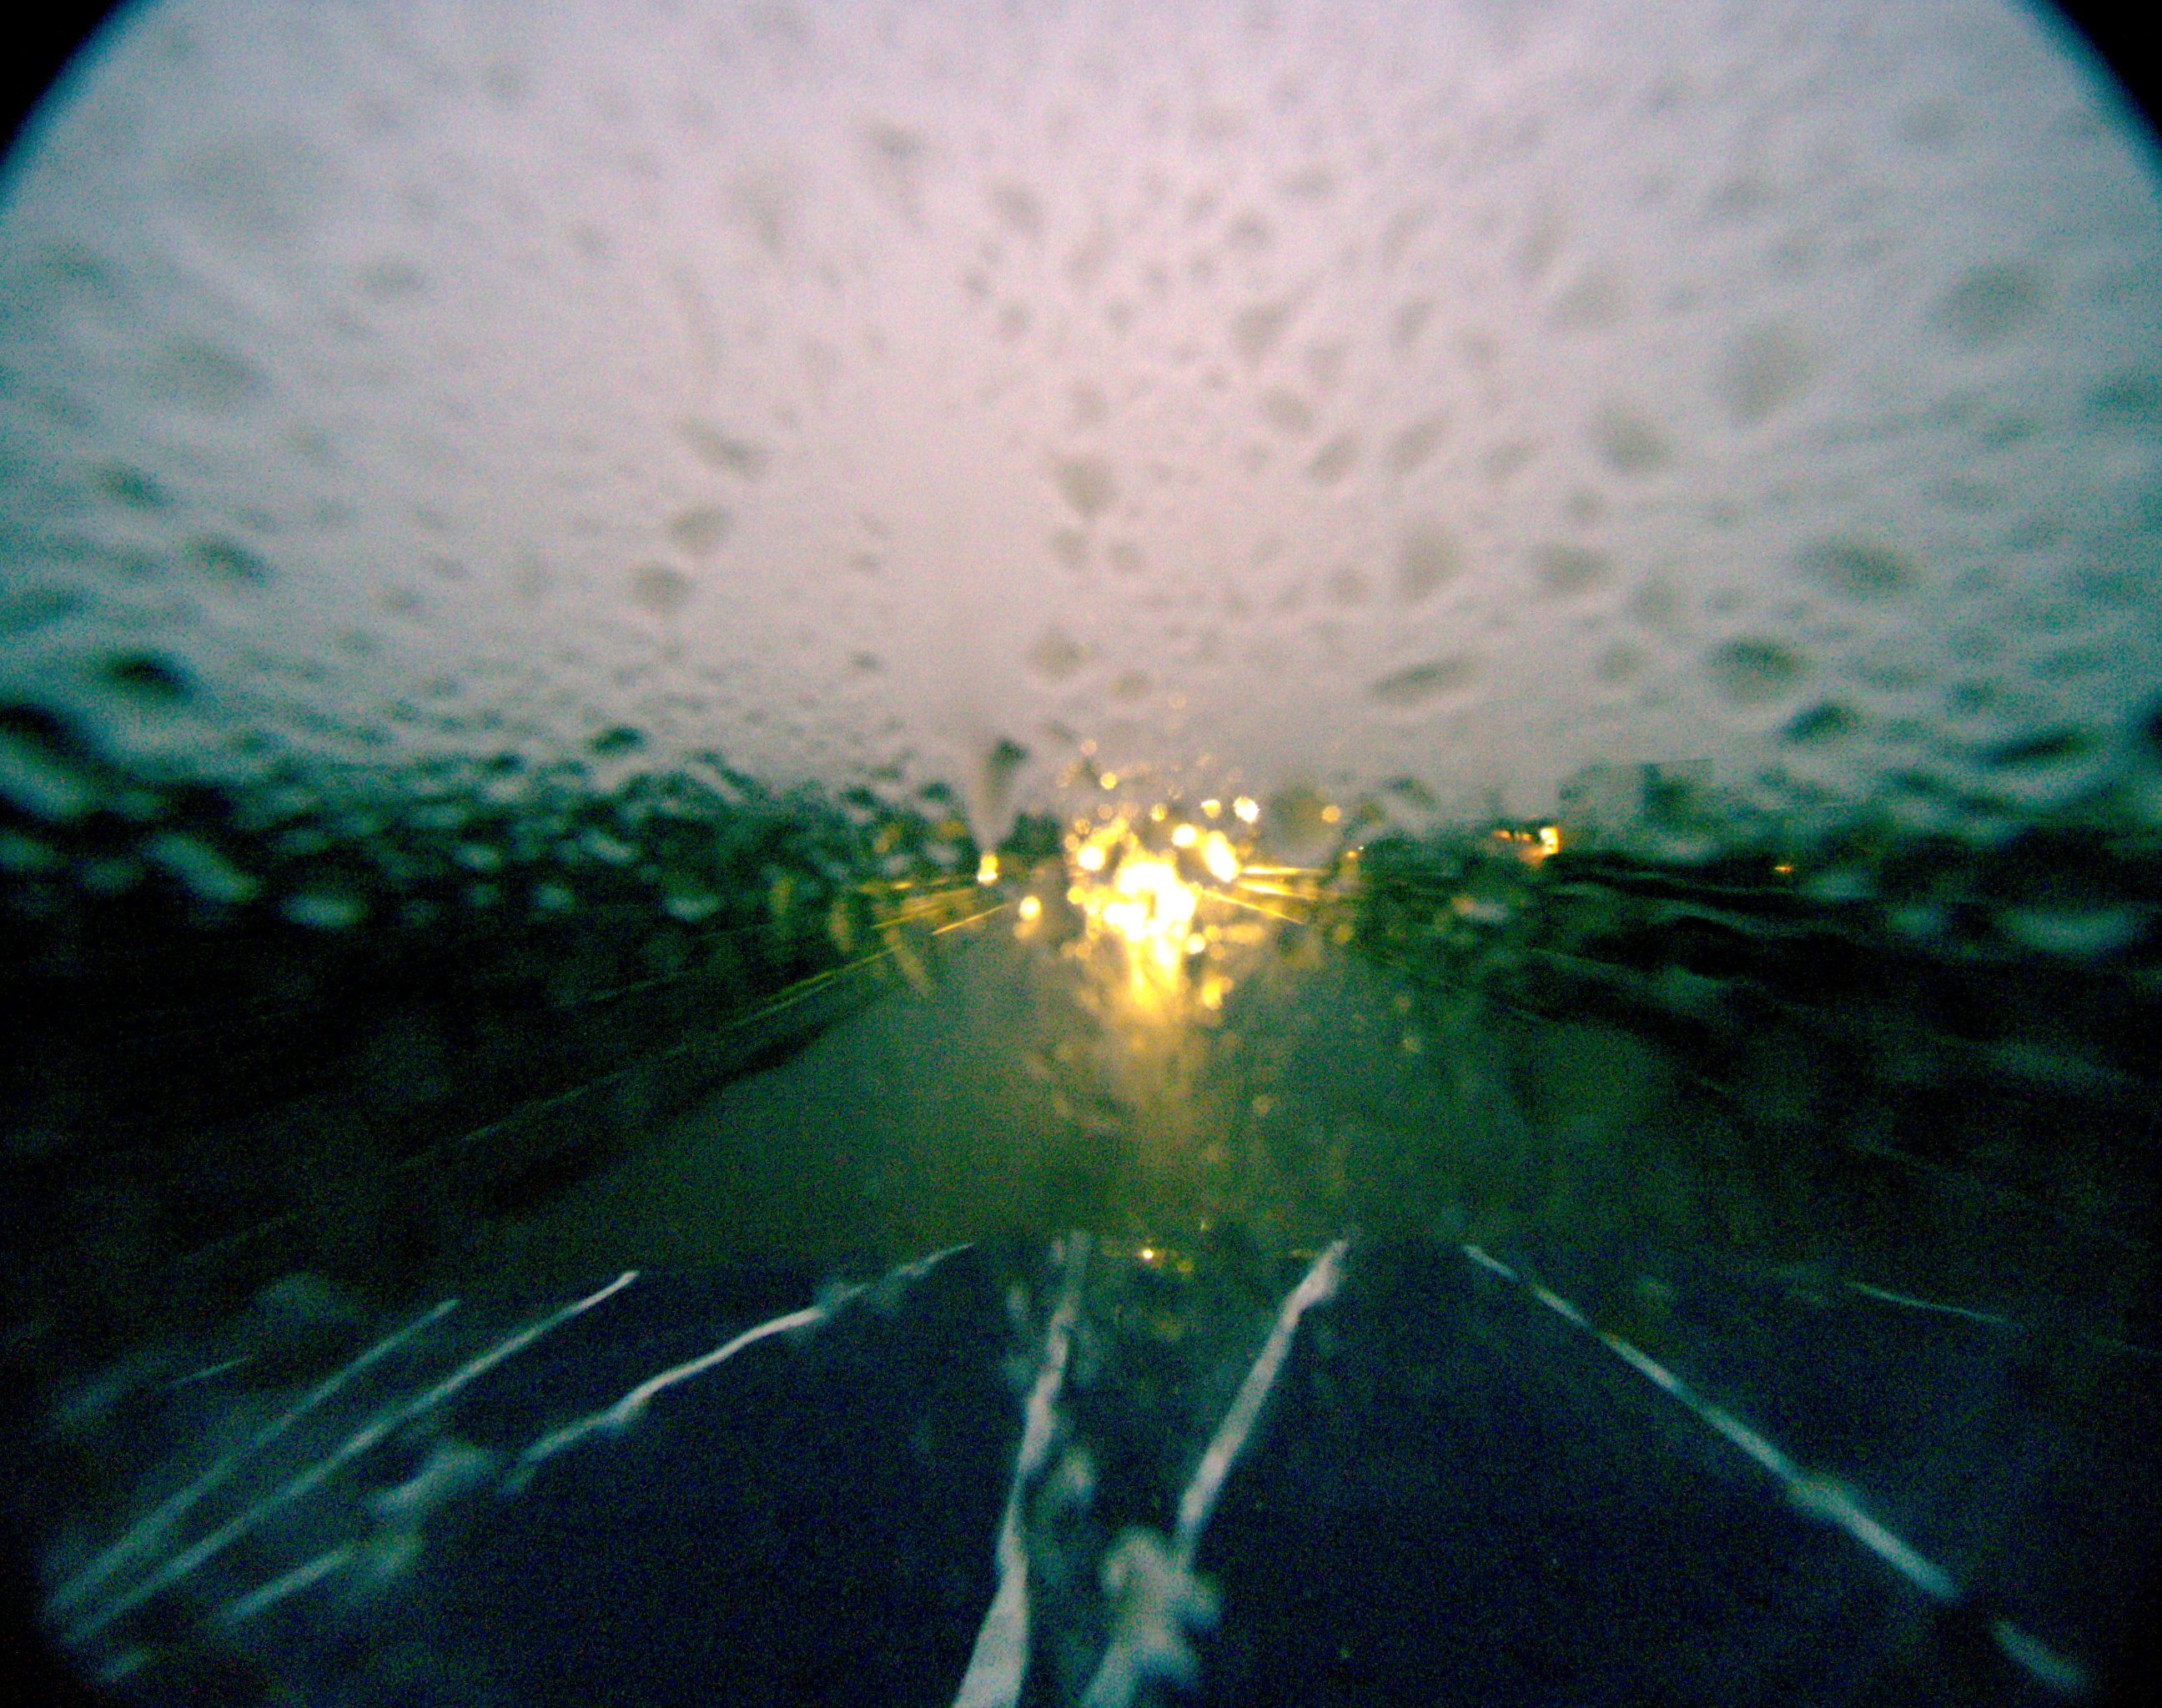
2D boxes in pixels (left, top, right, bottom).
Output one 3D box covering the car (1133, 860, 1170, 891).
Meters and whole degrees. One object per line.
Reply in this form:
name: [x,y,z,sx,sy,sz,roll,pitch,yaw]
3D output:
car: [3.889,1.182,42.569,1.886,1.514,4.001,-2,1,4]
